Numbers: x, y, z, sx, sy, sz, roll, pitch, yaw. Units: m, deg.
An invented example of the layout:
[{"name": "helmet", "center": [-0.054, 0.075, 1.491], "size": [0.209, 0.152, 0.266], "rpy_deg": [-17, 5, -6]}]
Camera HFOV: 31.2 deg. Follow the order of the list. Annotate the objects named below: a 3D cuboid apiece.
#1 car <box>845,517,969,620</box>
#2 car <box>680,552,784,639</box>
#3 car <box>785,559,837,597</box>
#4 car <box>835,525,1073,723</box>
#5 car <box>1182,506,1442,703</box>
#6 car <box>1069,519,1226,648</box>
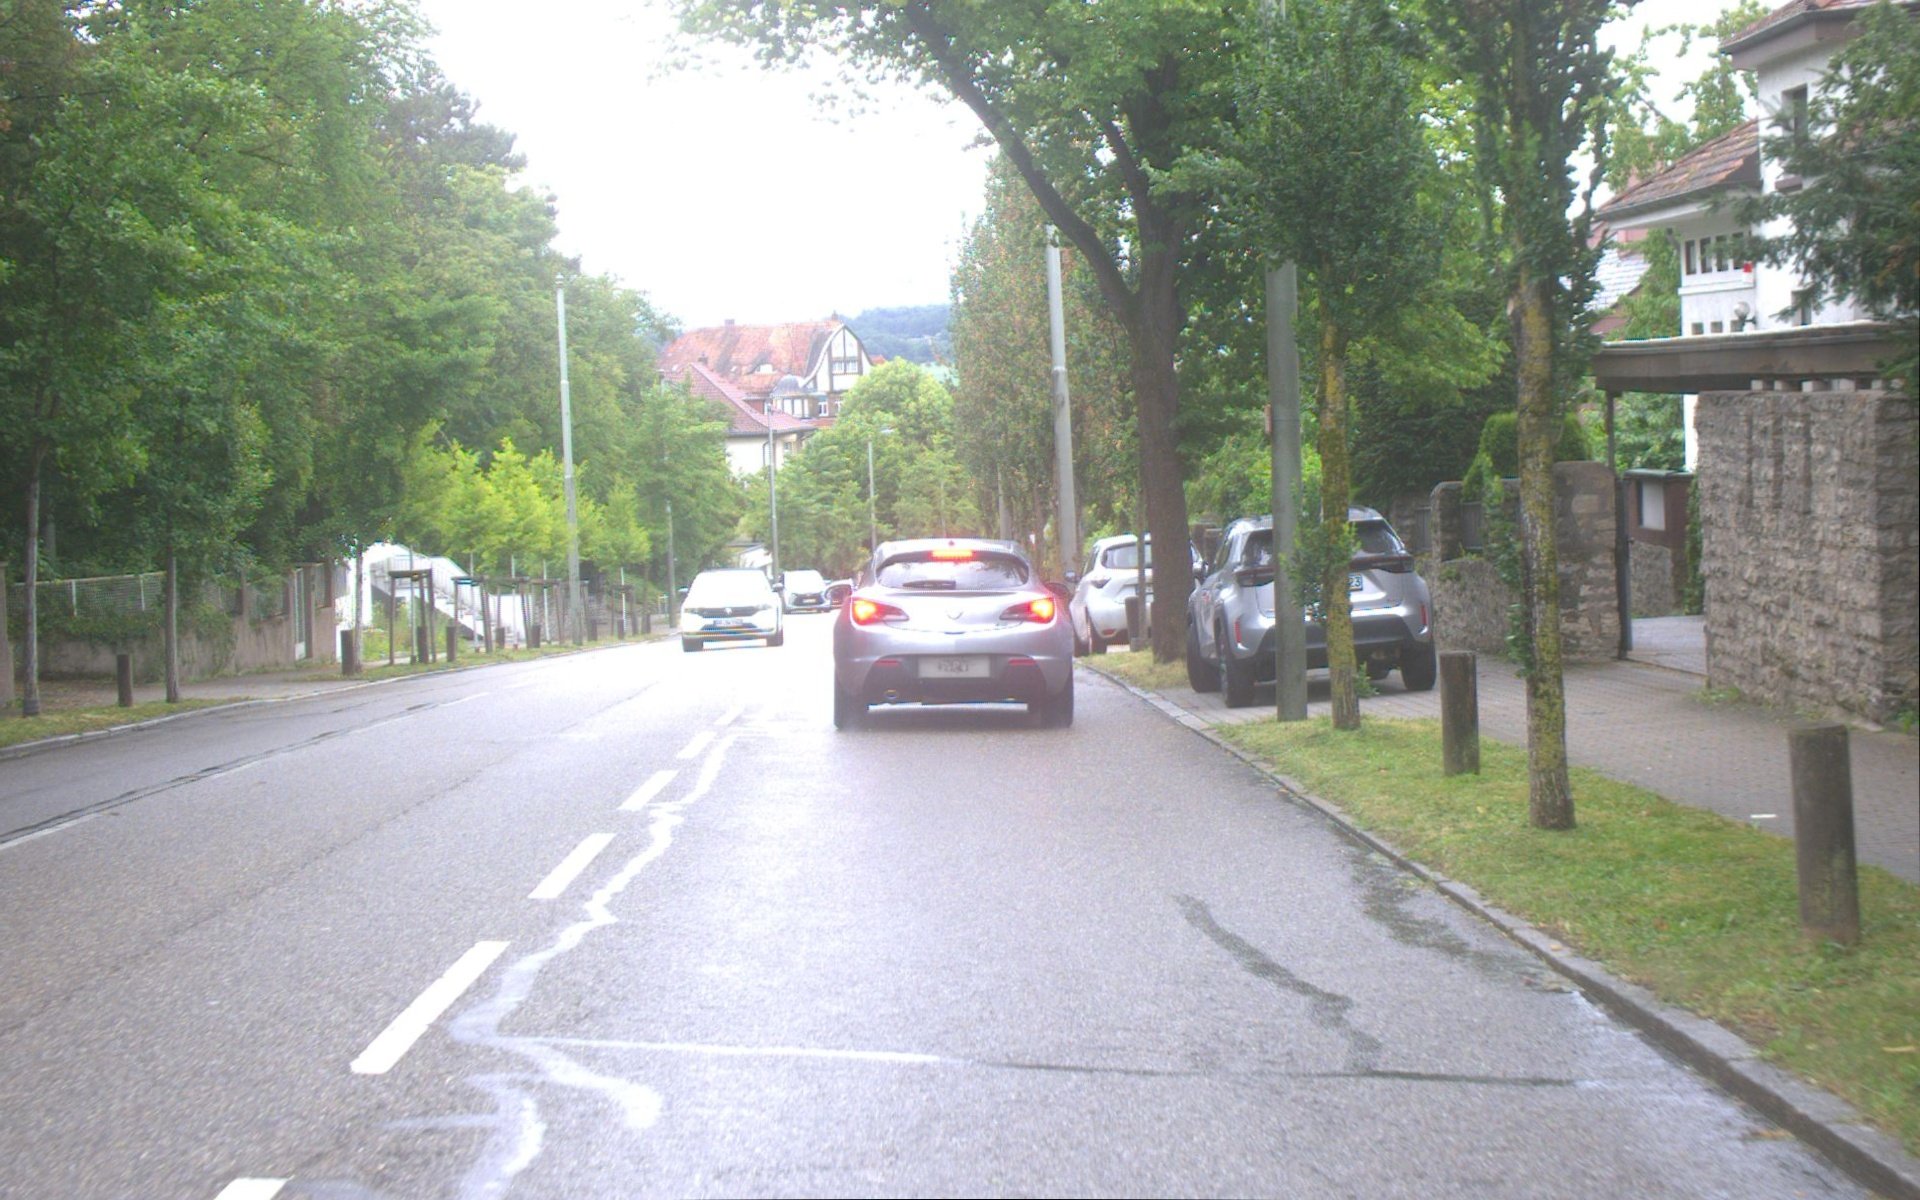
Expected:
[{"name": "car", "center": [-0.772, -0.438, 50.761], "size": [1.754, 1.459, 4.000], "rpy_deg": [0, 0, -1]}, {"name": "car", "center": [-4.267, -0.108, 64.683], "size": [1.721, 1.459, 4.001], "rpy_deg": [1, 2, -1]}, {"name": "car", "center": [-5.999, -0.872, 138.346], "size": [1.721, 1.459, 4.001], "rpy_deg": [1, 0, -8]}, {"name": "car", "center": [-0.056, 0.179, 27.390], "size": [1.754, 1.459, 4.000], "rpy_deg": [0, 0, 0]}, {"name": "car", "center": [2.963, -0.020, 29.662], "size": [1.721, 1.459, 4.001], "rpy_deg": [-3, 2, 0]}, {"name": "car", "center": [2.399, -0.252, 44.819], "size": [1.721, 1.459, 4.001], "rpy_deg": [-3, 2, 0]}]
